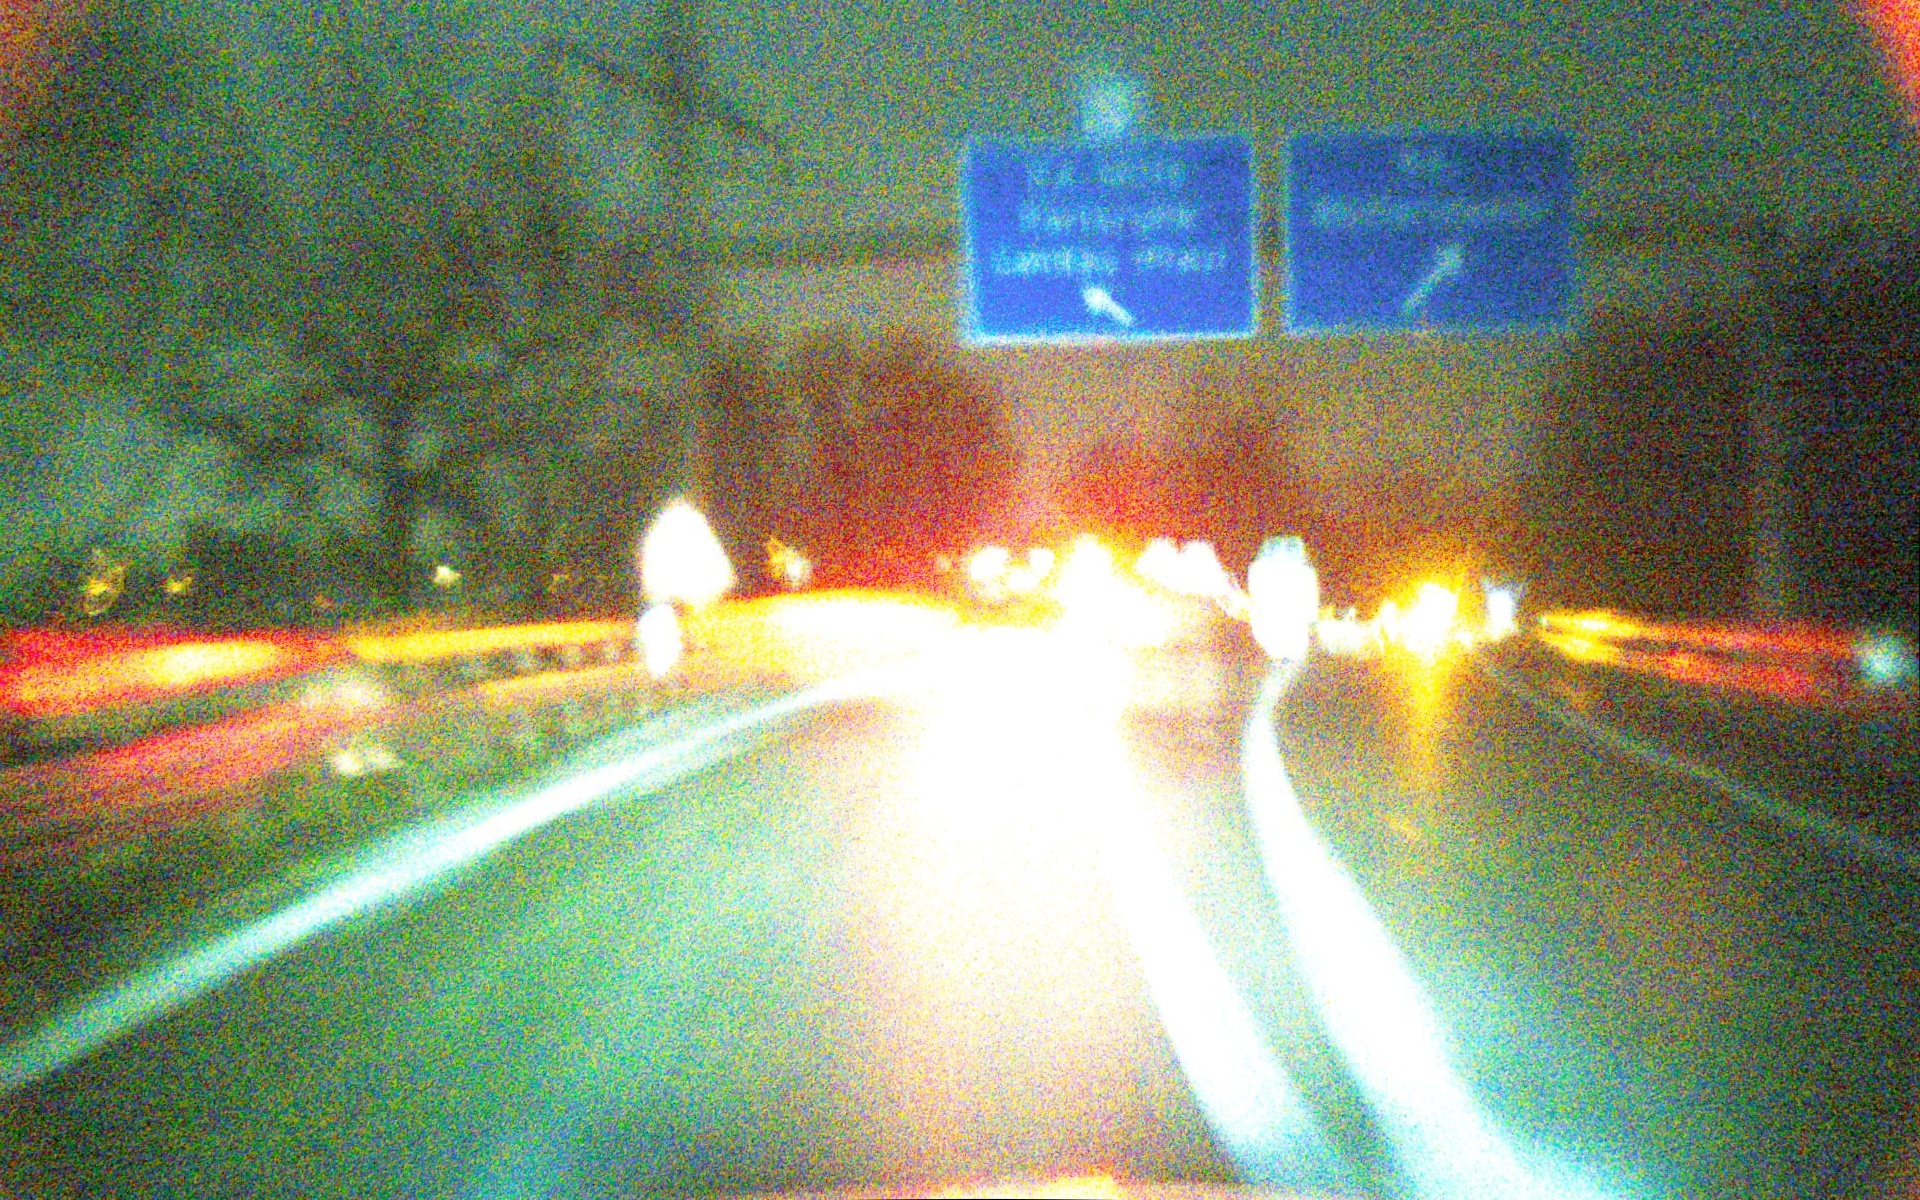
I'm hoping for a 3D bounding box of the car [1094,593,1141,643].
[{"bbox_3d":[6.815,0.797,71.147,1.855,2.076,4.048,0,-1,7],"label":"car"}]

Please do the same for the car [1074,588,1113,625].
[{"bbox_3d":[7.530,0.393,93.630,1.856,2.033,4.045,0,-1,-1],"label":"car"}]

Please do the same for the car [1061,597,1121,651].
[{"bbox_3d":[4.433,0.802,55.443,1.855,1.751,4.048,0,-1,6],"label":"car"}]

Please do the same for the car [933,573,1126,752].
[{"bbox_3d":[0.691,0.588,18.004,1.822,1.676,4.069,1,0,0],"label":"car"}]
